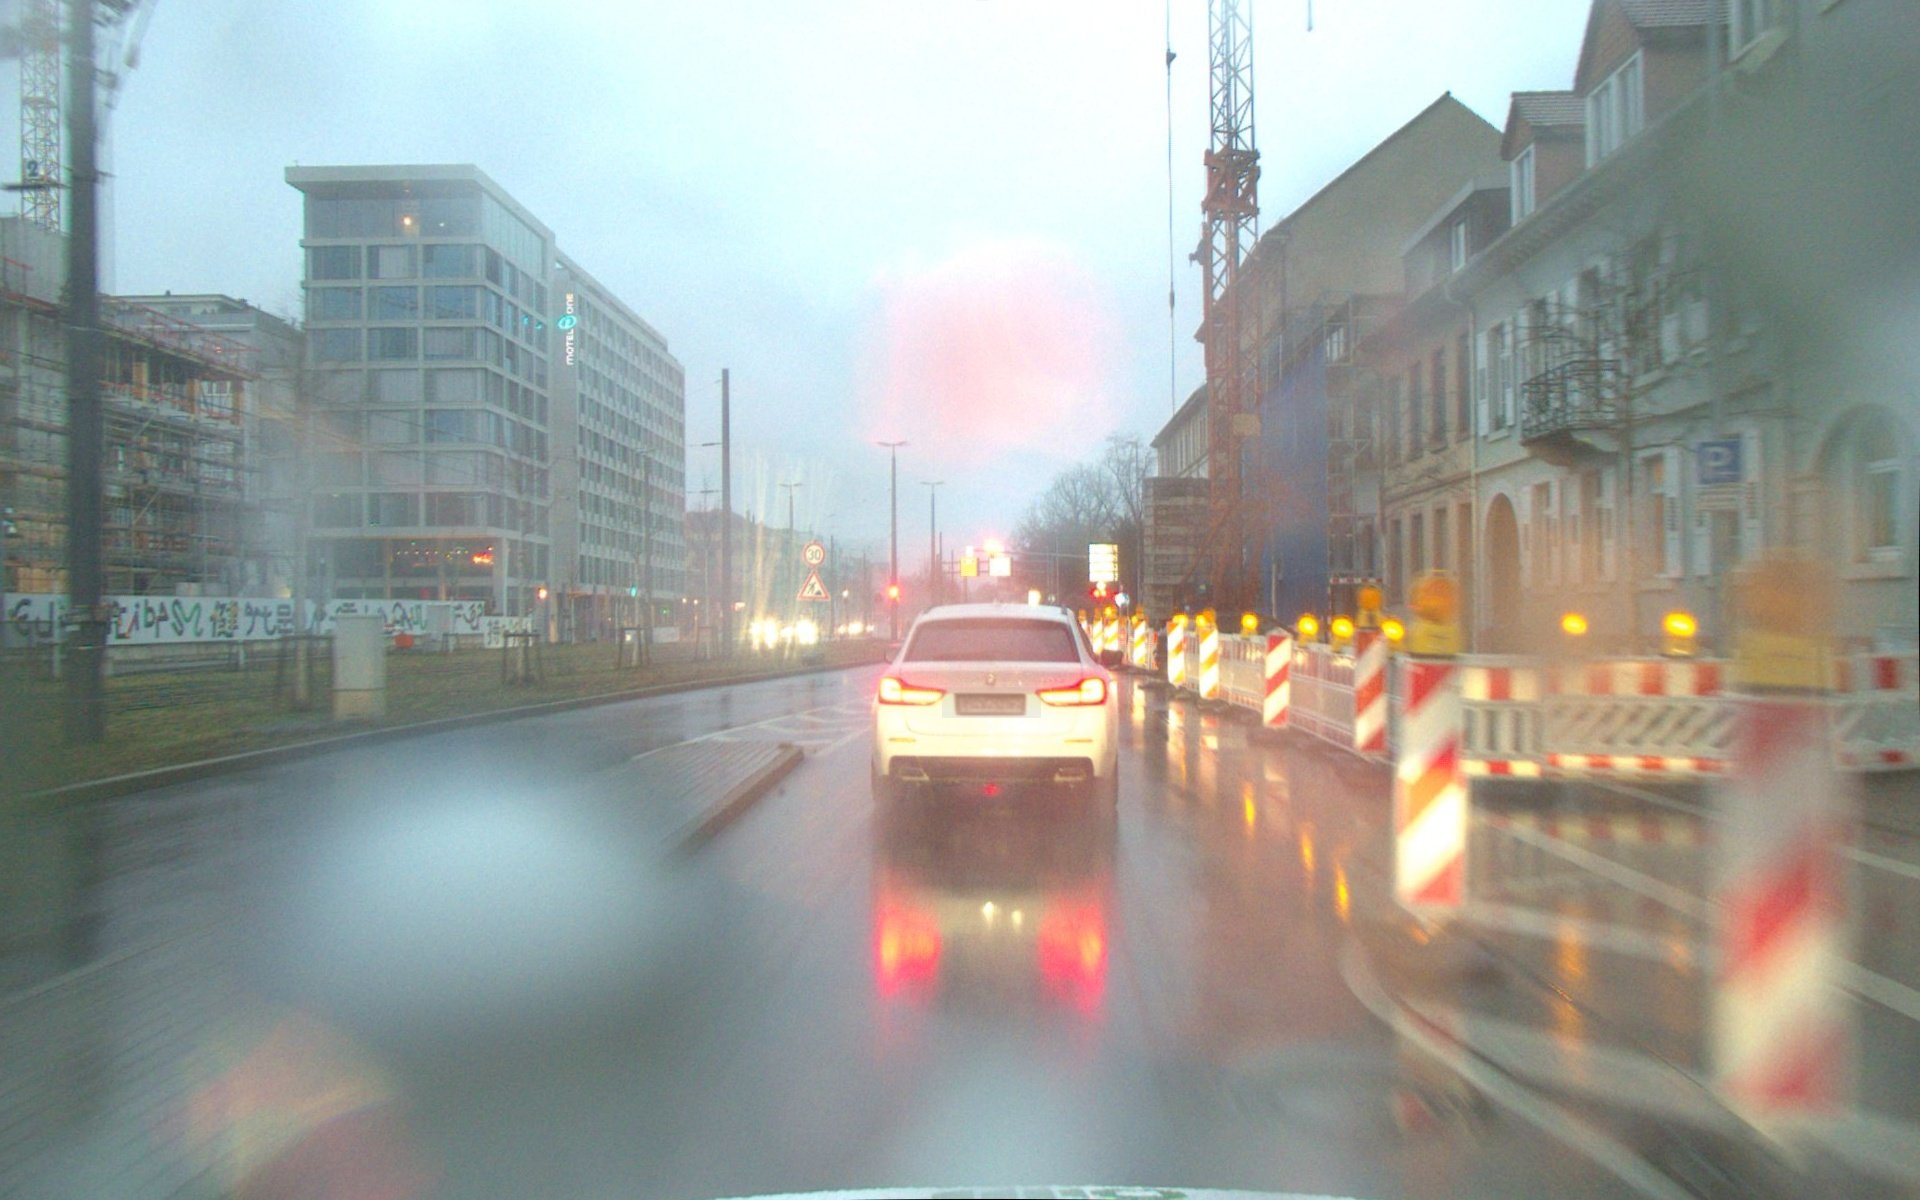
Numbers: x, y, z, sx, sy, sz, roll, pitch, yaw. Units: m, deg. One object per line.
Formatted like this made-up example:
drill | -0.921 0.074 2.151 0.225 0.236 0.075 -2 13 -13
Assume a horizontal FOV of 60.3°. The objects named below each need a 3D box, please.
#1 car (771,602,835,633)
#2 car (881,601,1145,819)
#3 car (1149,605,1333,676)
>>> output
car | -10.508 1.159 110.736 3.924 2.010 1.990 1 -1 -18
car | 0.398 0.783 13.898 1.814 1.491 4.947 0 -1 1
car | 6.478 0.918 38.002 4.047 1.544 1.884 1 -1 -35
